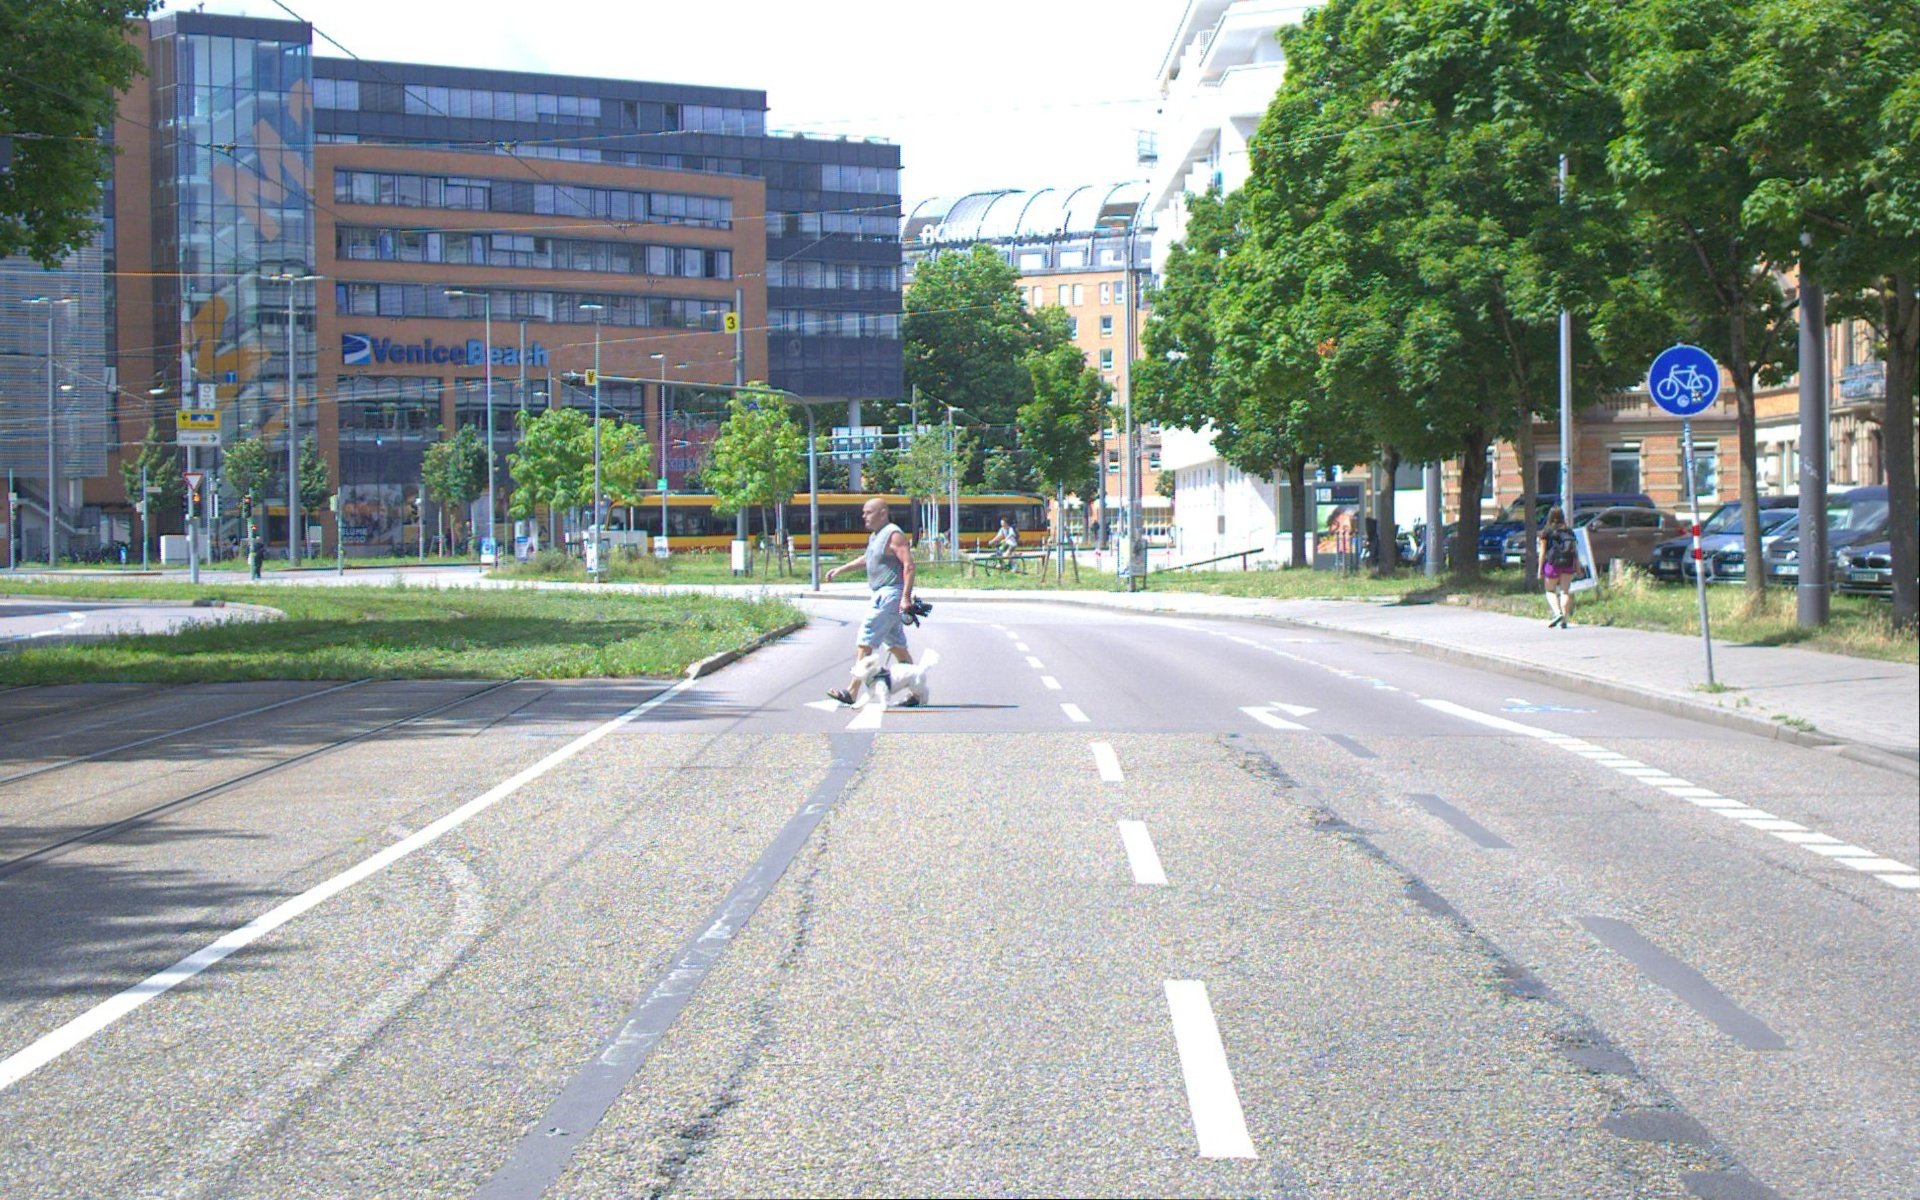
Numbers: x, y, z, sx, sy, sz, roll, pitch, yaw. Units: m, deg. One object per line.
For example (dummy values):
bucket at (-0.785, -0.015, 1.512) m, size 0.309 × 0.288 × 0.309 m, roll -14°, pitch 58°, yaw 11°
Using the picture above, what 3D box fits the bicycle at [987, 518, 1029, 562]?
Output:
bicycle at (1.446, -1.797, 102.927) m, size 0.694 × 1.238 × 1.838 m, roll -2°, pitch 2°, yaw 19°

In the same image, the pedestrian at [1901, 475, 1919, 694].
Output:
pedestrian at (7.804, -0.116, 26.639) m, size 0.700 × 1.698 × 1.045 m, roll 1°, pitch 1°, yaw -1°

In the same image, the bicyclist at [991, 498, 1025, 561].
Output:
bicyclist at (1.432, -2.115, 102.942) m, size 0.695 × 1.818 × 0.955 m, roll -2°, pitch 2°, yaw 18°

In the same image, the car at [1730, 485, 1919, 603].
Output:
car at (13.977, -0.837, 52.637) m, size 4.352 × 1.735 × 1.852 m, roll 0°, pitch 1°, yaw -36°

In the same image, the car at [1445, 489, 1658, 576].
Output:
car at (13.503, -1.527, 78.385) m, size 4.614 × 1.921 × 1.917 m, roll 0°, pitch 1°, yaw -31°

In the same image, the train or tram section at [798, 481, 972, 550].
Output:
train or tram section at (-4.048, -4.623, 188.853) m, size 3.062 × 3.591 × 10.967 m, roll 1°, pitch 1°, yaw 40°

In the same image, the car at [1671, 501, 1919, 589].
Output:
car at (14.013, -0.890, 56.426) m, size 4.678 × 1.375 × 1.852 m, roll 0°, pitch 1°, yaw -34°

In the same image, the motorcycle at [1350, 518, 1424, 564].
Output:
motorcycle at (10.814, -1.492, 87.025) m, size 1.783 × 1.163 × 0.640 m, roll 0°, pitch 1°, yaw -1°

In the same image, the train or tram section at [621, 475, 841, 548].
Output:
train or tram section at (-11.808, -4.570, 179.368) m, size 3.223 × 3.587 × 13.470 m, roll 1°, pitch 1°, yaw 38°

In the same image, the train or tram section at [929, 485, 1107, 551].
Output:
train or tram section at (3.423, -4.693, 197.945) m, size 3.062 × 3.608 × 12.607 m, roll 1°, pitch 1°, yaw 39°

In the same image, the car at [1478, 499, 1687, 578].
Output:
car at (13.650, -1.343, 75.398) m, size 4.160 × 1.650 × 1.917 m, roll 0°, pitch 1°, yaw -27°

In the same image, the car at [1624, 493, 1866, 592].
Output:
car at (14.345, -1.043, 62.785) m, size 4.136 × 1.735 × 1.852 m, roll 0°, pitch 1°, yaw -31°

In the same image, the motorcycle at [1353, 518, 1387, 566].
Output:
motorcycle at (9.969, -1.410, 83.521) m, size 0.638 × 1.163 × 1.905 m, roll 0°, pitch 1°, yaw 12°

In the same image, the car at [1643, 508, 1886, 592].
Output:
car at (13.975, -0.857, 59.644) m, size 4.072 × 1.401 × 1.852 m, roll 0°, pitch 1°, yaw -35°

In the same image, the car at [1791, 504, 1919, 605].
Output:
car at (13.907, -0.633, 48.632) m, size 4.256 × 1.375 × 1.852 m, roll 0°, pitch 1°, yaw -36°

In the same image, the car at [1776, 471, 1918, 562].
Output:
car at (21.902, -2.045, 85.129) m, size 2.111 × 2.171 × 5.394 m, roll 1°, pitch 1°, yaw 0°

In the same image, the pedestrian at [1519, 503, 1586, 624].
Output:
pedestrian at (7.886, -0.484, 45.778) m, size 0.700 × 1.586 × 0.905 m, roll 1°, pitch 1°, yaw -1°

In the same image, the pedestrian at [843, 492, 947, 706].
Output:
pedestrian at (-0.521, -0.014, 27.721) m, size 0.781 × 1.698 × 0.702 m, roll 1°, pitch 1°, yaw 2°

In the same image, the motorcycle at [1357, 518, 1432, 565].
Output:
motorcycle at (10.837, -1.463, 85.827) m, size 1.783 × 1.163 × 0.640 m, roll 0°, pitch 1°, yaw -1°
